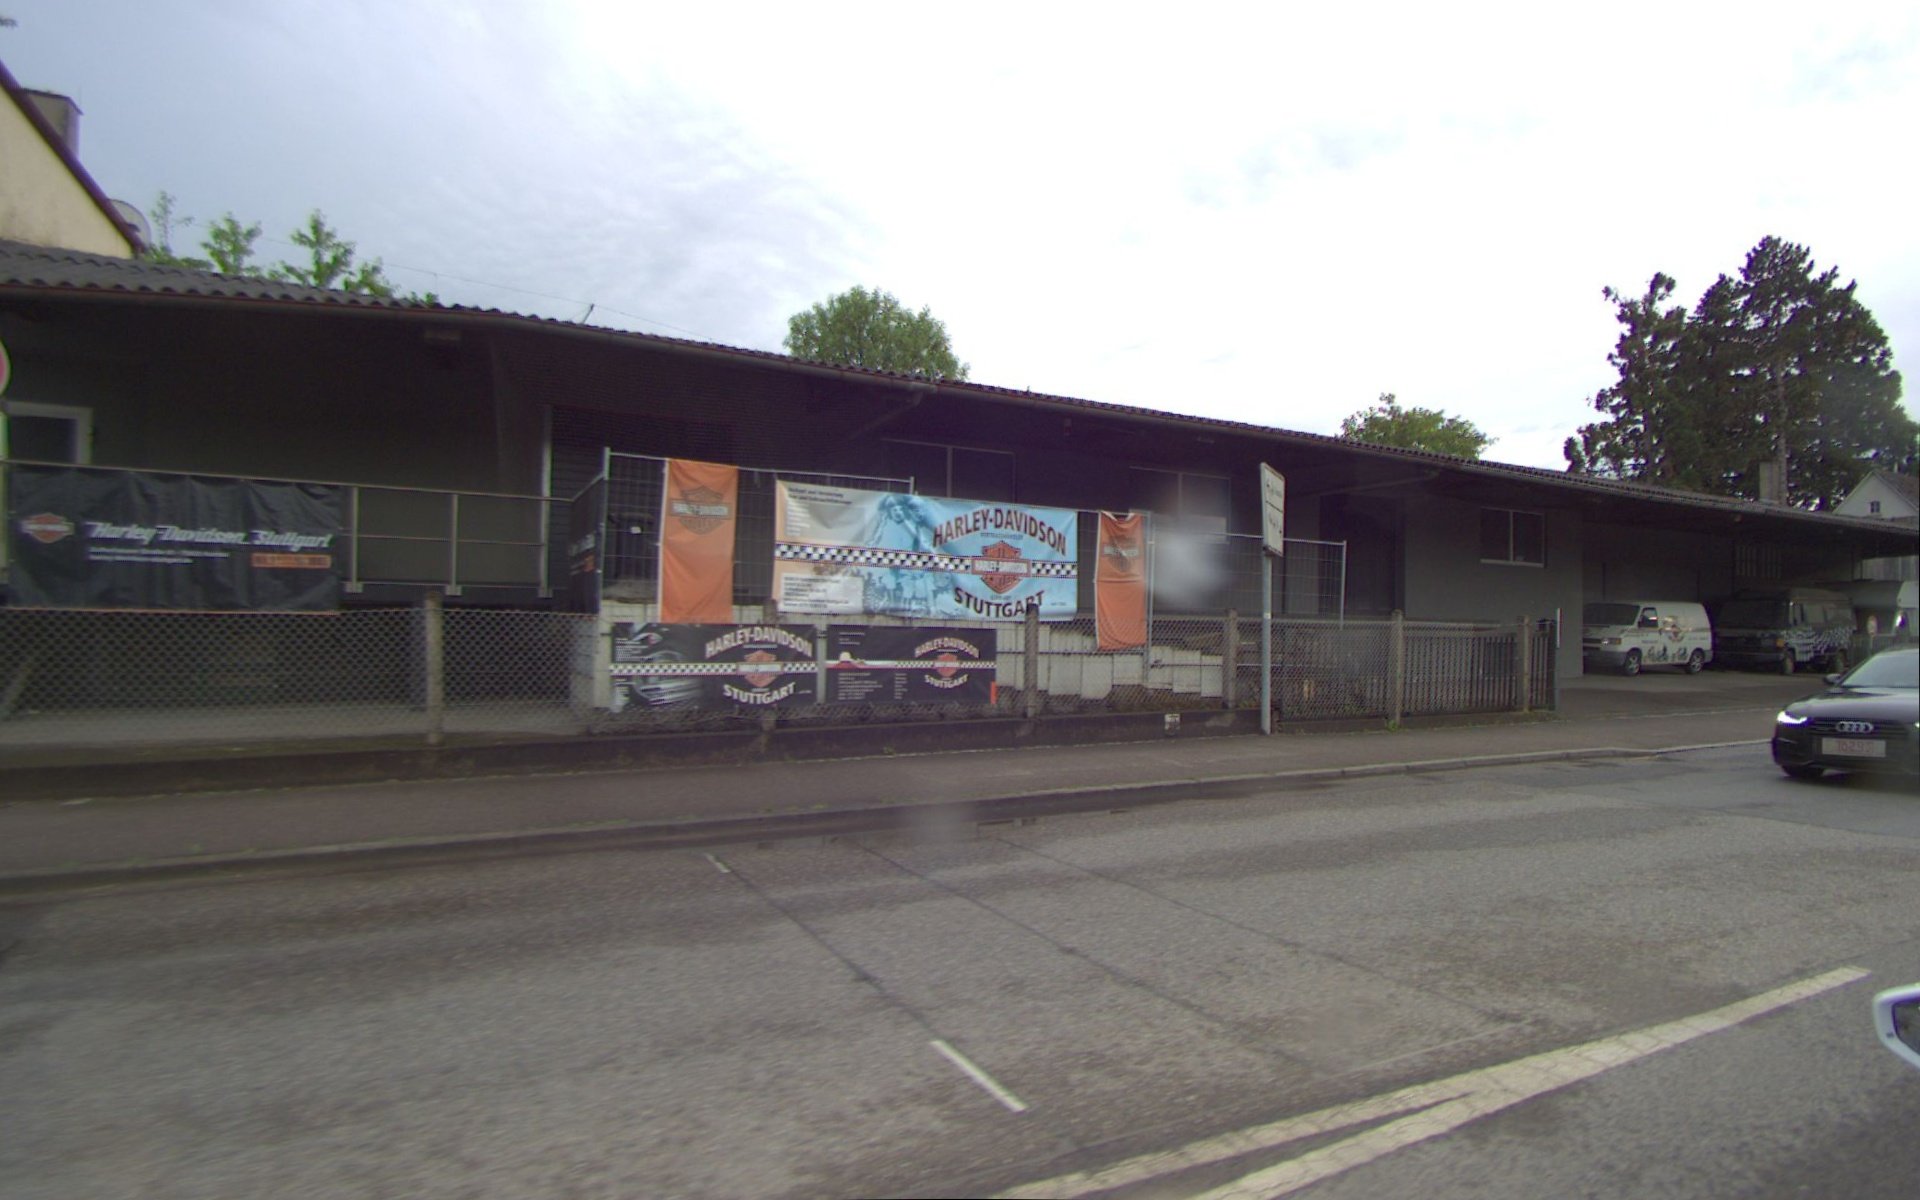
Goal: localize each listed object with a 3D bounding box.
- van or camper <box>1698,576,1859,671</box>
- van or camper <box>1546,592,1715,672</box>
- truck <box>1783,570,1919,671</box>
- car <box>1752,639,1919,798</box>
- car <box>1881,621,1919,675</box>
[{"bbox_3d":[23.955,0.709,29.342,5.173,2.469,1.850,3,1,-30],"label":"van or camper"},{"bbox_3d":[17.737,0.833,26.542,4.420,1.934,1.983,2,1,-31],"label":"van or camper"},{"bbox_3d":[29.006,0.684,31.881,5.884,2.966,2.384,2,0,-29],"label":"truck"},{"bbox_3d":[10.714,1.152,10.795,4.485,1.470,1.736,1,-3,-27],"label":"car"},{"bbox_3d":[28.606,1.407,28.716,4.723,1.463,1.928,2,-1,-29],"label":"car"}]
